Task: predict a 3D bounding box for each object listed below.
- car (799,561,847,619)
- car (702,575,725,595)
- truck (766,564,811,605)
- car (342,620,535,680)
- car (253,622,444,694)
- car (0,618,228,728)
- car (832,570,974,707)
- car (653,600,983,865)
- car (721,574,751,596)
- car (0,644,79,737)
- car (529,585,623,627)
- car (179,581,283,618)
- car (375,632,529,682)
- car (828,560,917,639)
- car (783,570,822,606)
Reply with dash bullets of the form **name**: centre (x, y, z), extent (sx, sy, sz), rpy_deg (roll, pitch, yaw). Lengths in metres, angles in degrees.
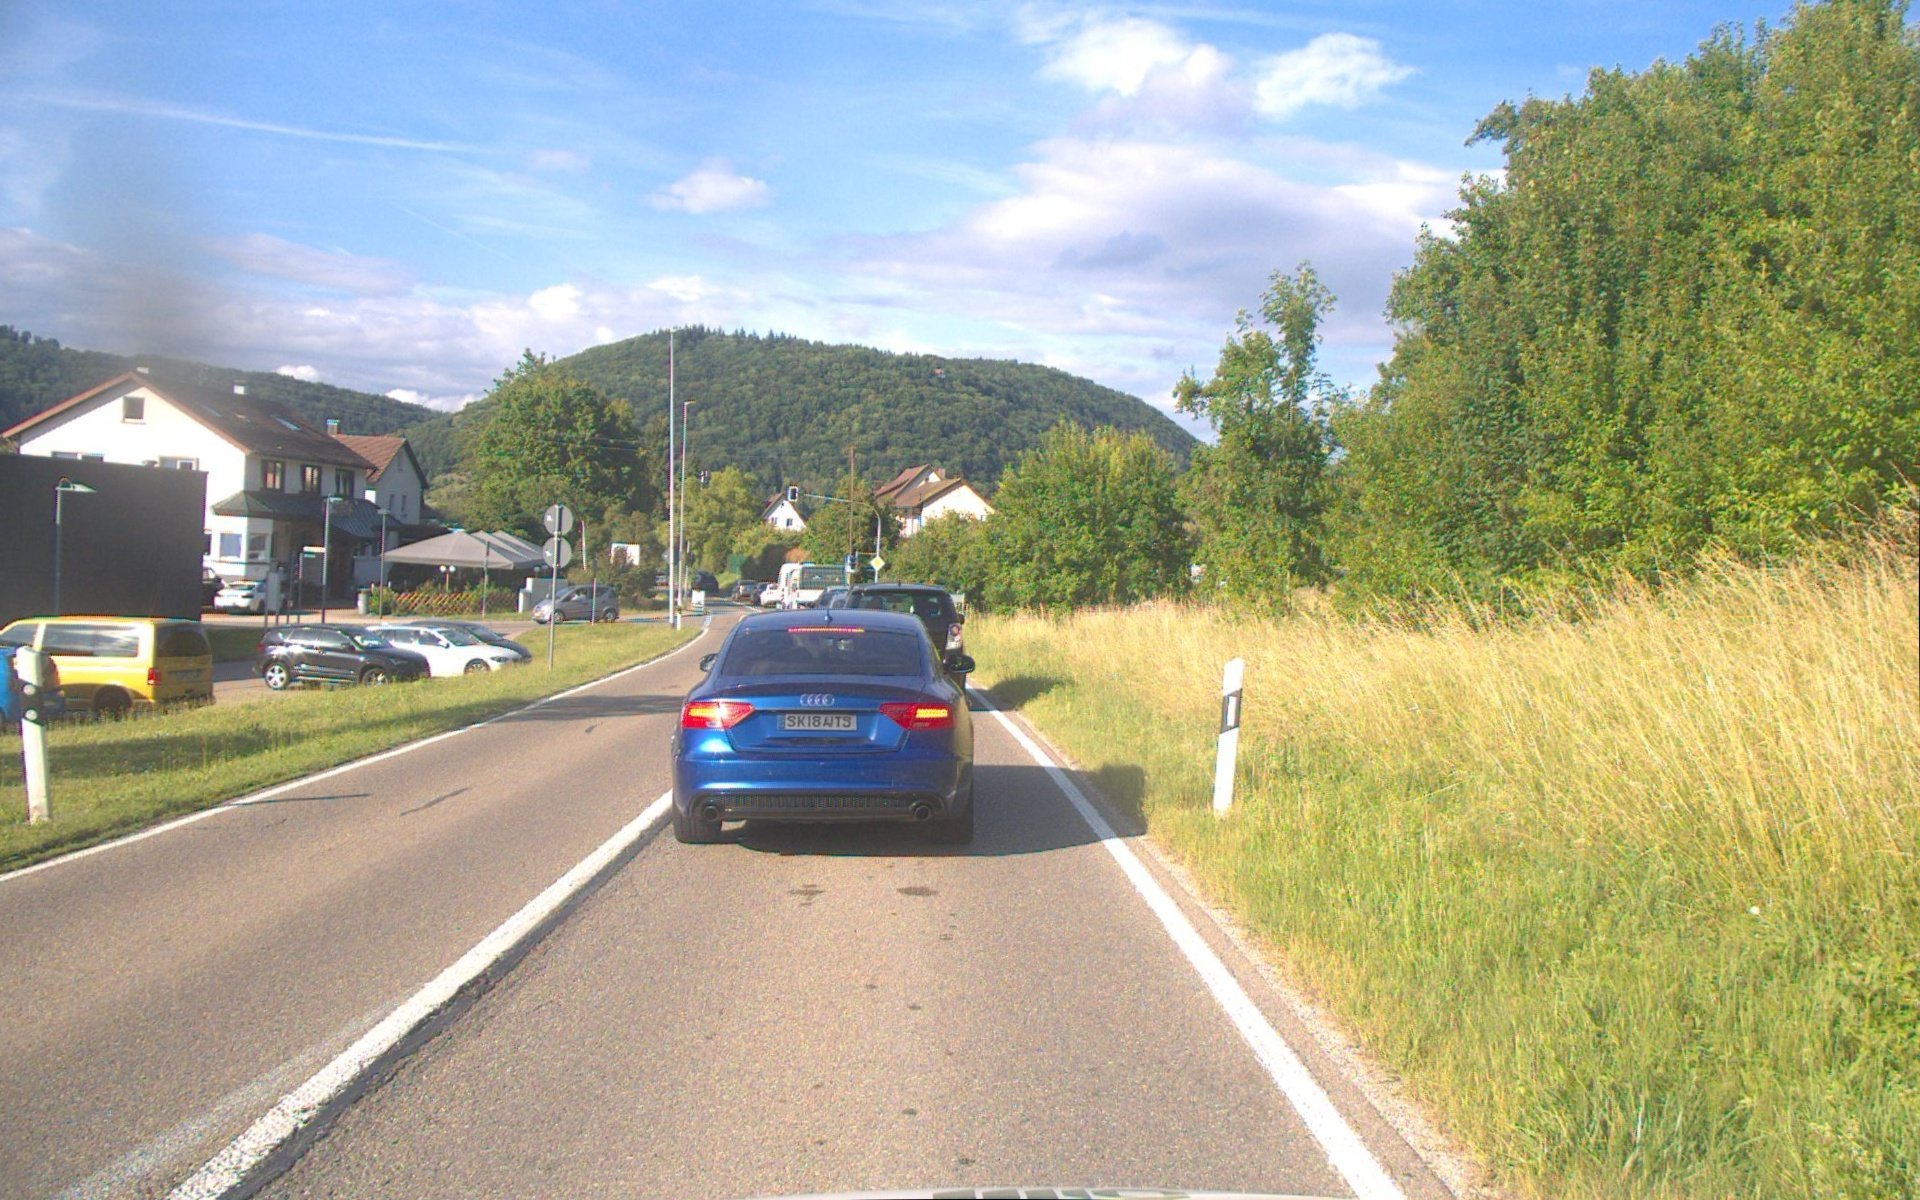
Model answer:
- **car**: centre (-5.577, -0.381, 67.176), extent (1.713, 2.234, 3.993), rpy_deg (1, 0, -7)
- **car**: centre (-21.550, -1.303, 144.512), extent (1.598, 1.604, 3.667), rpy_deg (1, 0, -13)
- **truck**: centre (-8.886, -0.750, 85.339), extent (1.668, 1.988, 5.903), rpy_deg (1, 0, -12)
- **car**: centre (-14.373, 1.358, 45.726), extent (4.711, 1.520, 1.882), rpy_deg (1, 0, 8)
- **car**: centre (-15.211, 1.410, 41.257), extent (3.939, 1.666, 2.002), rpy_deg (1, -1, 8)
- **car**: centre (-16.522, 1.340, 31.301), extent (4.512, 1.900, 2.002), rpy_deg (1, -1, 12)
- **car**: centre (-0.687, 0.489, 22.552), extent (1.710, 1.668, 4.000), rpy_deg (1, 0, 1)
- **car**: centre (-0.734, 0.723, 10.872), extent (1.758, 1.412, 4.000), rpy_deg (0, 0, 1)
- **car**: centre (-16.555, -1.082, 122.140), extent (1.670, 1.516, 3.511), rpy_deg (1, 0, -16)
- **car**: centre (-17.481, 1.527, 28.784), extent (3.419, 1.498, 1.634), rpy_deg (1, -1, 6)
- **car**: centre (-16.082, 0.270, 69.260), extent (3.434, 1.691, 1.717), rpy_deg (1, -1, -38)
- **car**: centre (-30.825, 0.000, 70.027), extent (1.728, 1.467, 4.000), rpy_deg (1, 0, 20)
- **car**: centre (-14.795, 1.641, 48.267), extent (3.903, 1.333, 1.761), rpy_deg (1, 0, 4)
- **car**: centre (-1.931, -0.003, 37.711), extent (1.768, 1.668, 4.463), rpy_deg (1, 0, 0)
- **car**: centre (-7.663, -0.535, 80.117), extent (1.713, 1.668, 3.993), rpy_deg (1, 0, -7)
